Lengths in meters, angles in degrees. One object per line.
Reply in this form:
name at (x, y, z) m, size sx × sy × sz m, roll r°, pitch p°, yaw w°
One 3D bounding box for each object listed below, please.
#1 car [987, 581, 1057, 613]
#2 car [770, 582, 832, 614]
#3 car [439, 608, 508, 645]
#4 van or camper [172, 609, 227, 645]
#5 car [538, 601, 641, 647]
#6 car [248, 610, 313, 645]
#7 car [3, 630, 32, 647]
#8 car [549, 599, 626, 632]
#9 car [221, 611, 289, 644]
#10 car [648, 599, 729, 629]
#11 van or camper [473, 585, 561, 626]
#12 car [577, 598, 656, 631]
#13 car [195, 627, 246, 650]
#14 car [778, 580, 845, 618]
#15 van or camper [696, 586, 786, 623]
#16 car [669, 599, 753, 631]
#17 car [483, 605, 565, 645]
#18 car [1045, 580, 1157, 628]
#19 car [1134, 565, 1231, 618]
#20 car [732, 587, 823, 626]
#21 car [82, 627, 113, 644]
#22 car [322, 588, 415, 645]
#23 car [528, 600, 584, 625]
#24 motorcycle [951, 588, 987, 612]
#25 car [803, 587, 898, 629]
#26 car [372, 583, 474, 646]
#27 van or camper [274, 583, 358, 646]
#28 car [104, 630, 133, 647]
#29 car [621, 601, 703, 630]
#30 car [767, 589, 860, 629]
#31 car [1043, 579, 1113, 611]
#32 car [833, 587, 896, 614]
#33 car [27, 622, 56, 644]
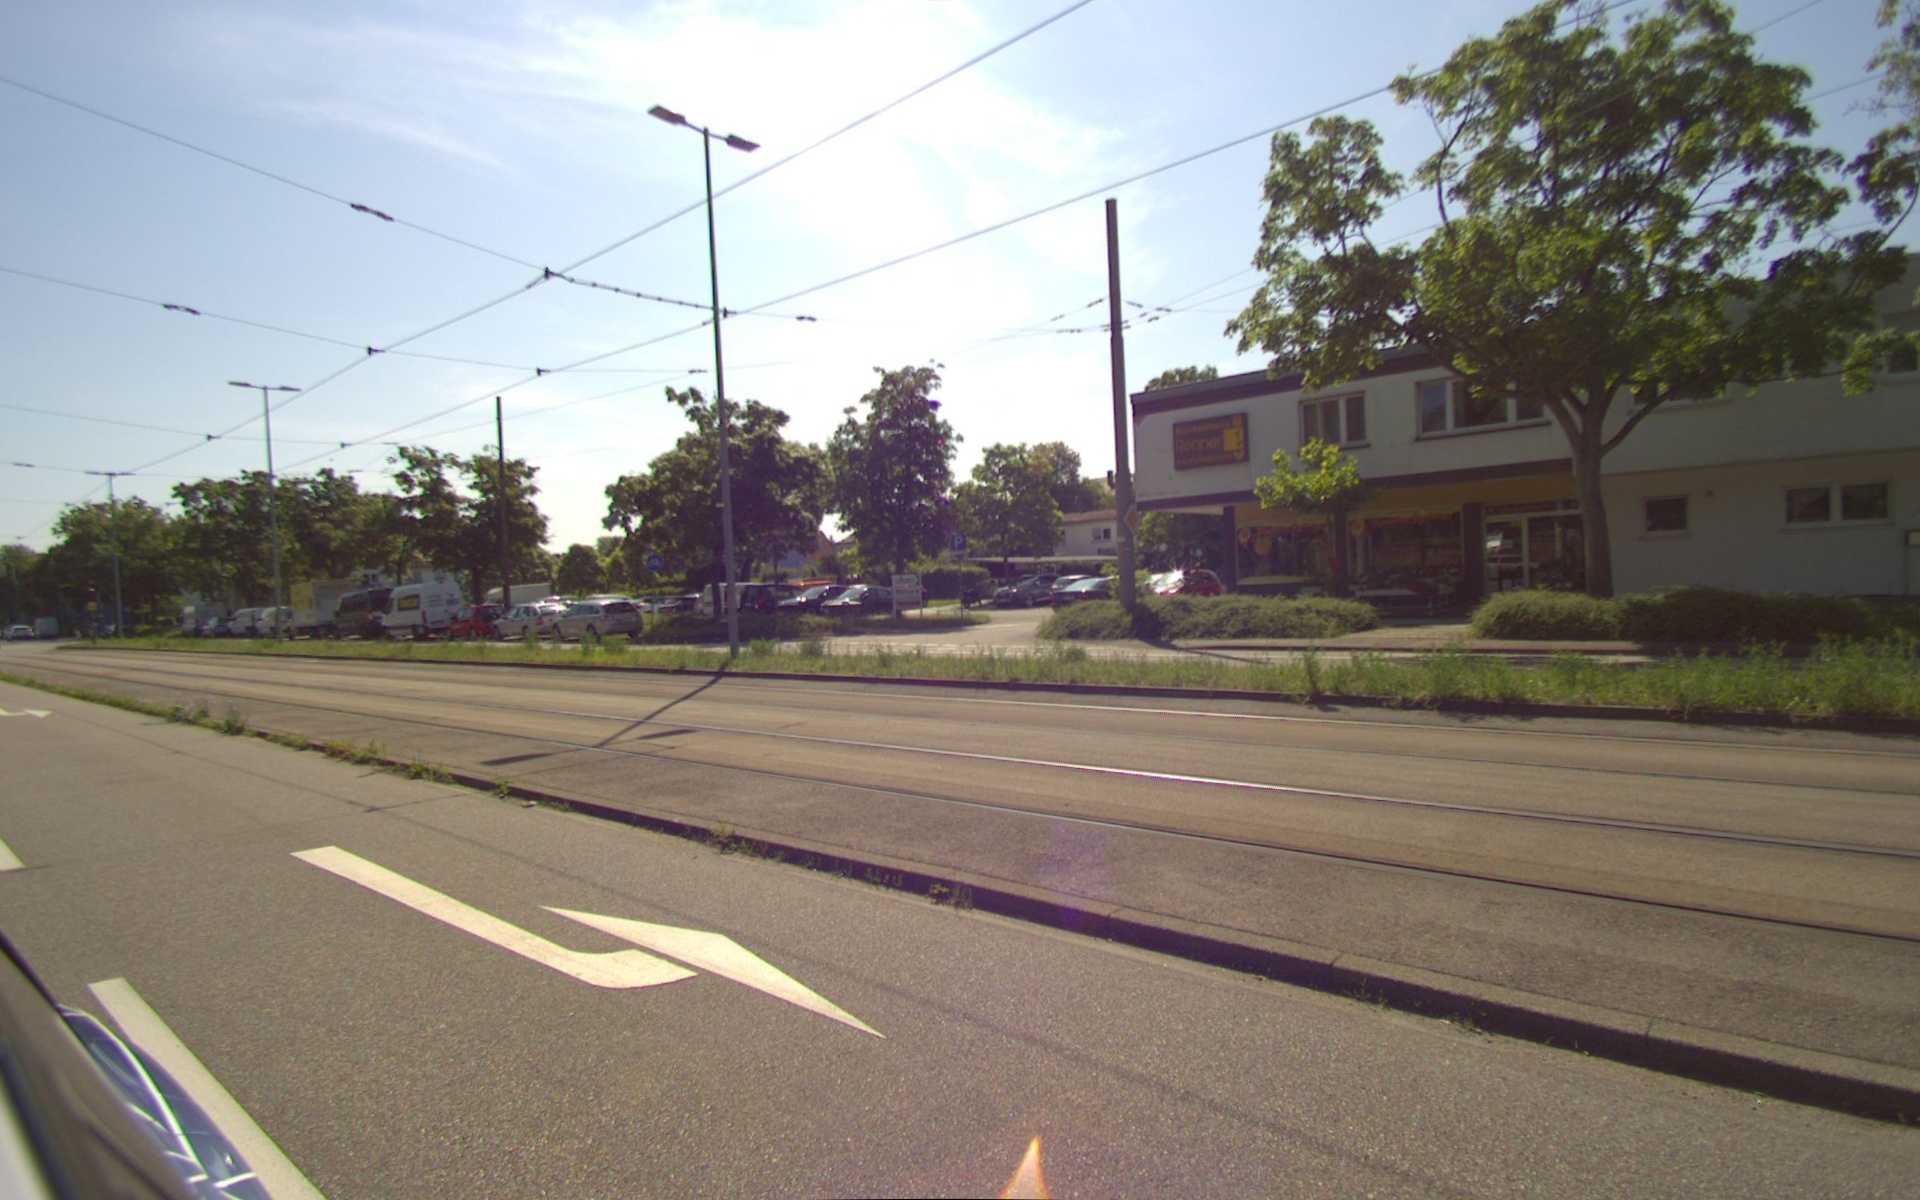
car at (3.280, -0.165, 52.698) m, size 1.674 × 1.435 × 3.935 m, roll -3°, pitch 0°, yaw 38°
car at (-11.007, -0.171, 70.406) m, size 1.908 × 2.018 × 3.950 m, roll -3°, pitch 0°, yaw 38°
car at (-21.227, 1.171, 44.109) m, size 3.673 × 1.501 × 1.279 m, roll -2°, pitch 1°, yaw 40°
van or camper at (-57.887, 2.110, 77.019) m, size 6.146 × 2.533 × 2.233 m, roll -3°, pitch 0°, yaw 43°
car at (-13.814, 0.923, 37.621) m, size 4.617 × 1.501 × 1.587 m, roll -3°, pitch 2°, yaw 43°
car at (-43.100, 1.751, 64.161) m, size 5.184 × 1.955 × 2.173 m, roll -2°, pitch 3°, yaw 43°
car at (-100.677, 4.093, 108.093) m, size 4.661 × 1.609 × 2.020 m, roll -2°, pitch 1°, yaw 44°
car at (-22.016, 0.905, 59.867) m, size 1.662 × 1.707 × 3.946 m, roll -2°, pitch 1°, yaw 41°
car at (-47.690, 1.886, 68.424) m, size 5.176 × 1.955 × 2.176 m, roll -3°, pitch 2°, yaw 37°
car at (-14.053, 0.715, 52.490) m, size 1.487 × 1.381 × 3.950 m, roll -2°, pitch 0°, yaw 37°
van or camper at (-40.820, 0.469, 93.429) m, size 2.579 × 3.268 × 6.883 m, roll -2°, pitch 2°, yaw 39°
car at (-19.659, 0.800, 57.947) m, size 1.662 × 1.707 × 3.946 m, roll -2°, pitch 1°, yaw 41°
car at (-52.959, 2.778, 72.440) m, size 4.883 × 1.465 × 1.912 m, roll -2°, pitch 2°, yaw 41°
car at (-9.442, -0.084, 64.760) m, size 1.908 × 2.216 × 3.950 m, roll -3°, pitch 0°, yaw 38°
van or camper at (-10.422, 0.201, 48.322) m, size 1.873 × 1.574 × 3.952 m, roll -2°, pitch 0°, yaw 36°
car at (-12.216, 0.724, 49.790) m, size 1.487 × 1.381 × 3.950 m, roll -2°, pitch 0°, yaw 37°
car at (-17.704, 1.032, 41.041) m, size 4.349 × 1.501 × 1.278 m, roll -2°, pitch 1°, yaw 41°
car at (4.778, 0.114, 33.904) m, size 1.697 × 1.354 × 4.104 m, roll -2°, pitch 1°, yaw 42°
car at (8.395, -0.343, 37.956) m, size 1.697 × 1.748 × 4.104 m, roll -2°, pitch 1°, yaw 42°
car at (-8.380, 0.283, 46.649) m, size 1.662 × 1.574 × 3.948 m, roll -2°, pitch 0°, yaw 39°
car at (-87.936, 3.628, 103.200) m, size 4.238 × 1.624 × 1.658 m, roll -3°, pitch 0°, yaw 39°
car at (-30.744, 0.882, 52.525) m, size 6.075 × 2.688 × 2.174 m, roll -2°, pitch 2°, yaw 41°
car at (-34.309, 1.081, 85.986) m, size 1.783 × 1.905 × 3.950 m, roll -3°, pitch 0°, yaw 38°
motorcycle at (0.496, -0.014, 56.354) m, size 0.734 × 1.243 × 2.104 m, roll -2°, pitch 0°, yaw 42°
car at (-4.623, 0.318, 43.169) m, size 1.662 × 1.574 × 3.948 m, roll -2°, pitch 0°, yaw 39°
car at (-25.459, 0.726, 47.854) m, size 5.977 × 2.650 × 2.173 m, roll -3°, pitch 2°, yaw 42°
van or camper at (-37.153, 0.881, 58.292) m, size 6.771 × 3.264 × 2.173 m, roll -3°, pitch 2°, yaw 43°
car at (-79.864, 3.687, 96.032) m, size 4.082 × 1.461 × 1.598 m, roll -3°, pitch 0°, yaw 43°
car at (-15.907, 0.806, 54.086) m, size 1.658 × 1.381 × 3.949 m, roll -2°, pitch 0°, yaw 38°
car at (-6.433, 0.381, 44.763) m, size 1.662 × 1.574 × 3.948 m, roll -2°, pitch 0°, yaw 39°
car at (6.047, -0.250, 51.628) m, size 1.674 × 1.435 × 3.934 m, roll -3°, pitch 0°, yaw 39°
car at (-5.782, 0.041, 61.544) m, size 1.531 × 1.435 × 3.808 m, roll -3°, pitch 0°, yaw 39°
car at (-115.925, 4.204, 127.750) m, size 6.083 × 2.671 × 1.990 m, roll -2°, pitch 1°, yaw 42°
